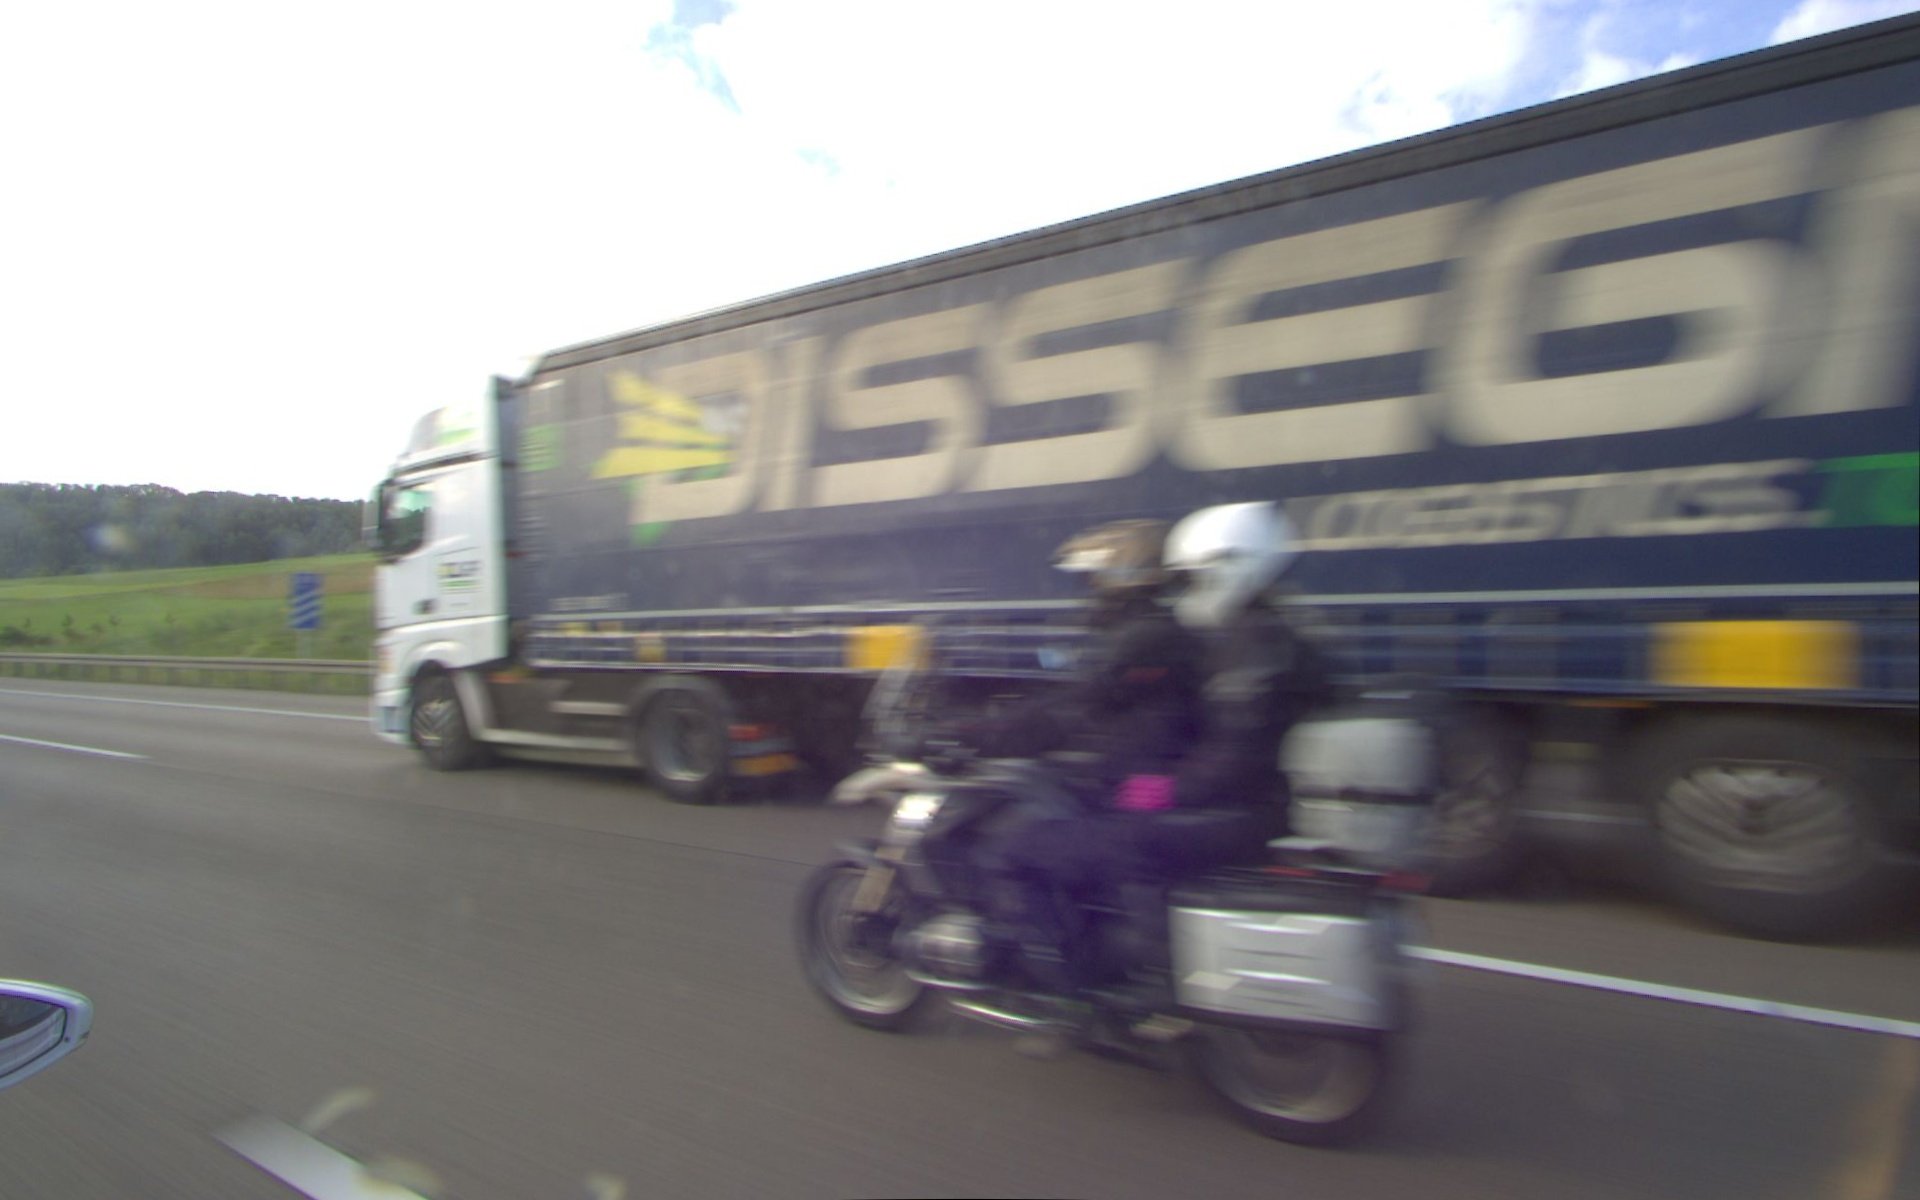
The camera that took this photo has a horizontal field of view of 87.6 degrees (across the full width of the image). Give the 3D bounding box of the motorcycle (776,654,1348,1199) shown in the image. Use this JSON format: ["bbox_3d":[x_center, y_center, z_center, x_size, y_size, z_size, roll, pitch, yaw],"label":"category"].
[{"bbox_3d":[0.260,0.872,3.166,1.715,1.356,0.625,-1,-1,34],"label":"motorcycle"}]

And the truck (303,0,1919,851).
[{"bbox_3d":[0.633,-0.886,8.001,17.479,4.044,2.959,-1,-1,33],"label":"truck"}]

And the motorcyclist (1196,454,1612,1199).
[{"bbox_3d":[1.126,0.508,2.485,0.787,1.534,0.874,-1,-1,35],"label":"motorcyclist"}]
